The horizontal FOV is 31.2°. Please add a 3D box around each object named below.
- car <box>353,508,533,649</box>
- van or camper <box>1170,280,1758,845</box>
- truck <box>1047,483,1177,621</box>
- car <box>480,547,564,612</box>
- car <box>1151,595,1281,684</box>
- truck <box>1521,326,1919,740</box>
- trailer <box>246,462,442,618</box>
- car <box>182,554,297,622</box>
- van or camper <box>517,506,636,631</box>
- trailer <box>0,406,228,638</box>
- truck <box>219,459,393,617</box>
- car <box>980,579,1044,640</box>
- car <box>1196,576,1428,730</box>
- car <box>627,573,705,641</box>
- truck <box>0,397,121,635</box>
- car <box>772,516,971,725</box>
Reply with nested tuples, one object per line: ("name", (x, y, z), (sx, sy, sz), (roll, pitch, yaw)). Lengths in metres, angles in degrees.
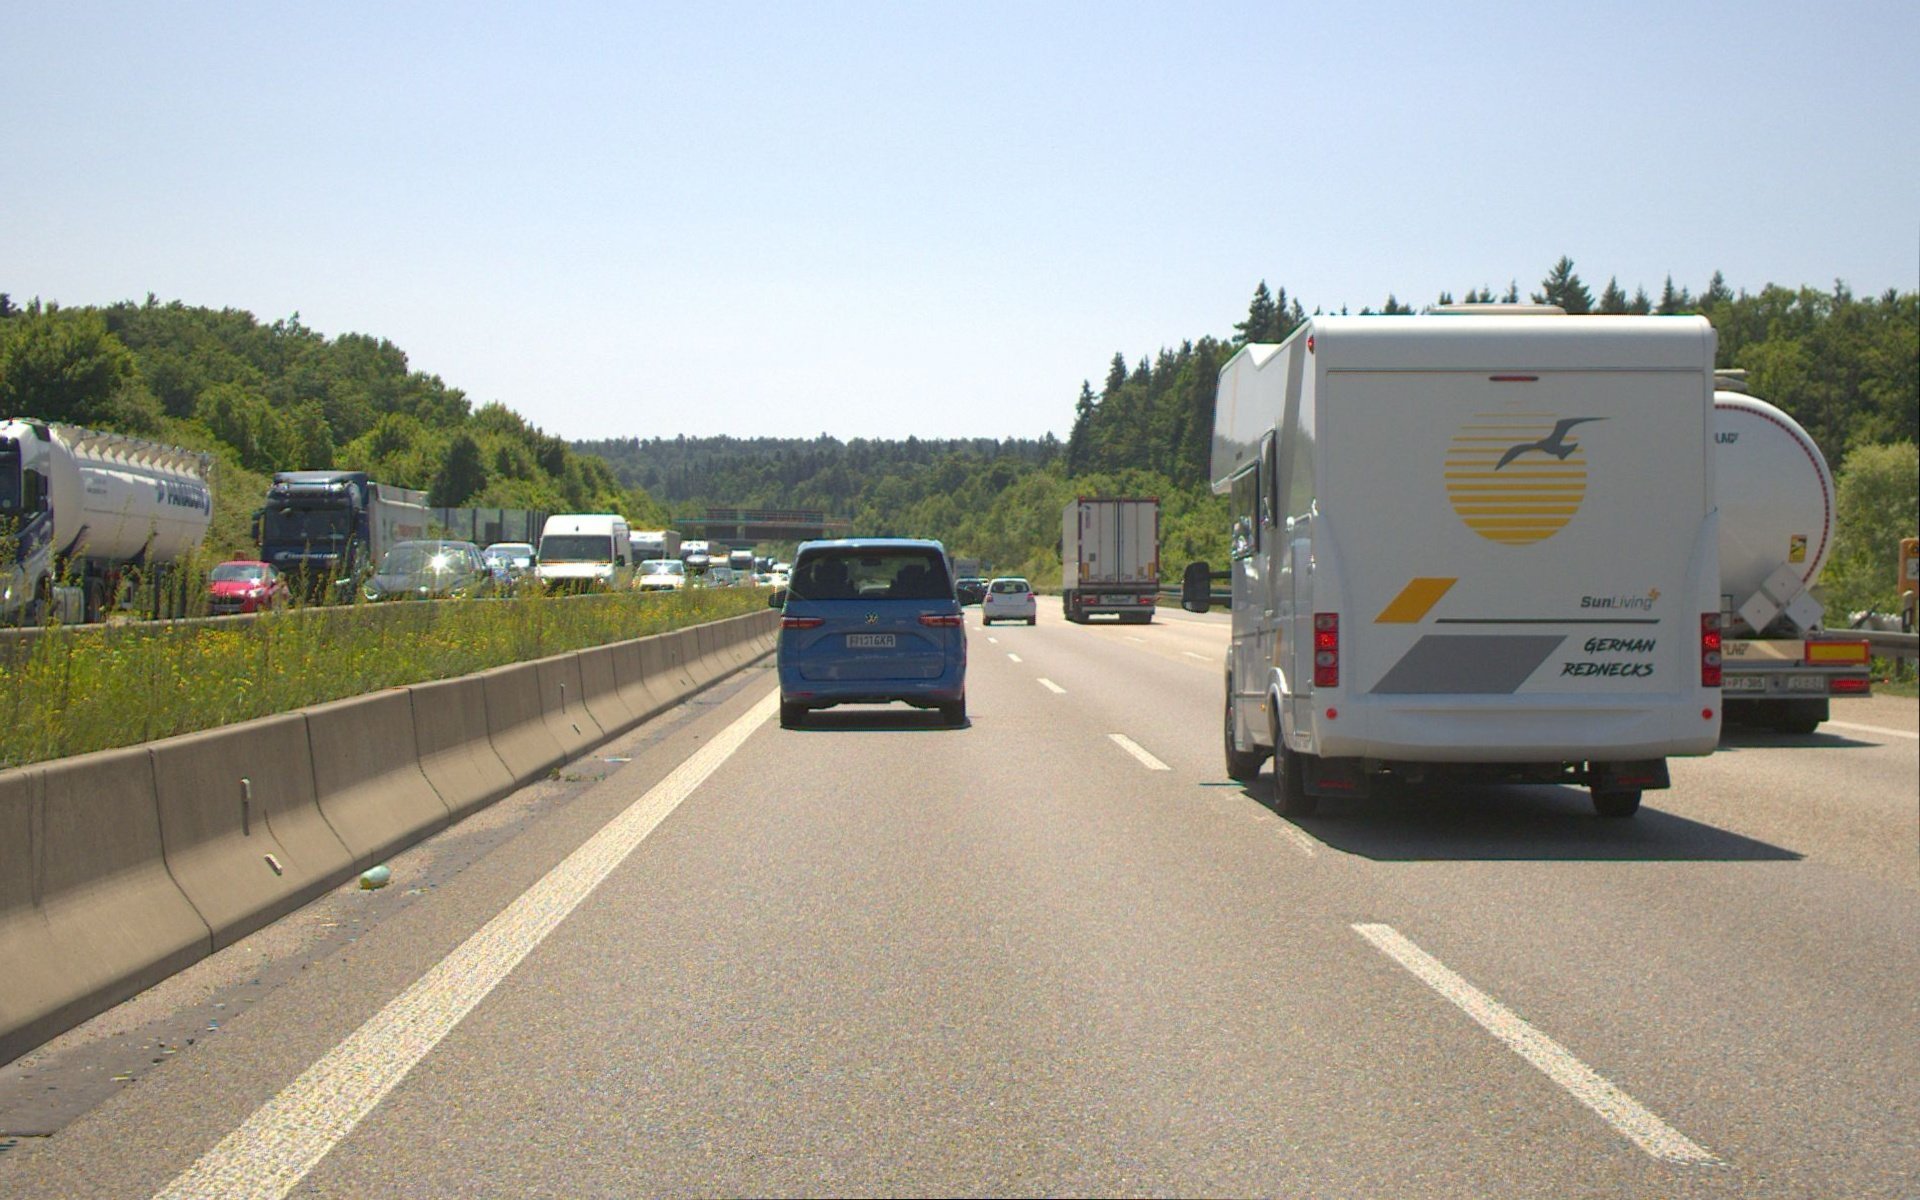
("car", (-8.321, -0.319, 55.796), (2.086, 2.056, 5.059), (3, 0, 0))
("van or camper", (2.980, -0.289, 22.423), (2.603, 3.068, 7.183), (1, 1, -1))
("truck", (4.930, -1.514, 113.209), (3.487, 4.156, 8.642), (3, 0, -1))
("car", (-12.738, -0.573, 100.242), (1.796, 1.827, 5.746), (0, 0, -1))
("car", (4.466, 0.680, 60.457), (1.909, 1.470, 4.000), (1, 0, -1))
("truck", (7.842, -0.645, 34.294), (2.928, 3.563, 8.526), (2, 1, -1))
("trailer", (-17.309, -1.641, 97.537), (3.578, 4.079, 11.538), (1, 0, -1))
("car", (-16.864, -0.259, 80.668), (1.796, 1.533, 4.584), (-1, 0, -1))
("van or camper", (-9.488, -0.741, 85.583), (1.993, 2.867, 7.641), (3, 0, 0))
("trailer", (-16.743, -1.373, 66.110), (2.679, 3.936, 13.245), (3, 0, -2))
("truck", (-17.204, -1.571, 90.807), (3.455, 3.864, 5.445), (3, 0, -1))
("car", (1.624, 0.298, 108.570), (1.818, 1.788, 3.894), (3, 0, -1))
("car", (3.587, 0.524, 35.676), (1.909, 1.470, 4.000), (1, 0, -1))
("car", (-9.429, 0.232, 110.621), (1.993, 2.007, 5.163), (3, 0, 0))
("truck", (-16.555, -1.387, 59.163), (2.692, 3.865, 6.317), (1, 0, -1))
("car", (-0.900, 0.205, 35.675), (1.909, 2.007, 4.000), (1, 0, -1))
